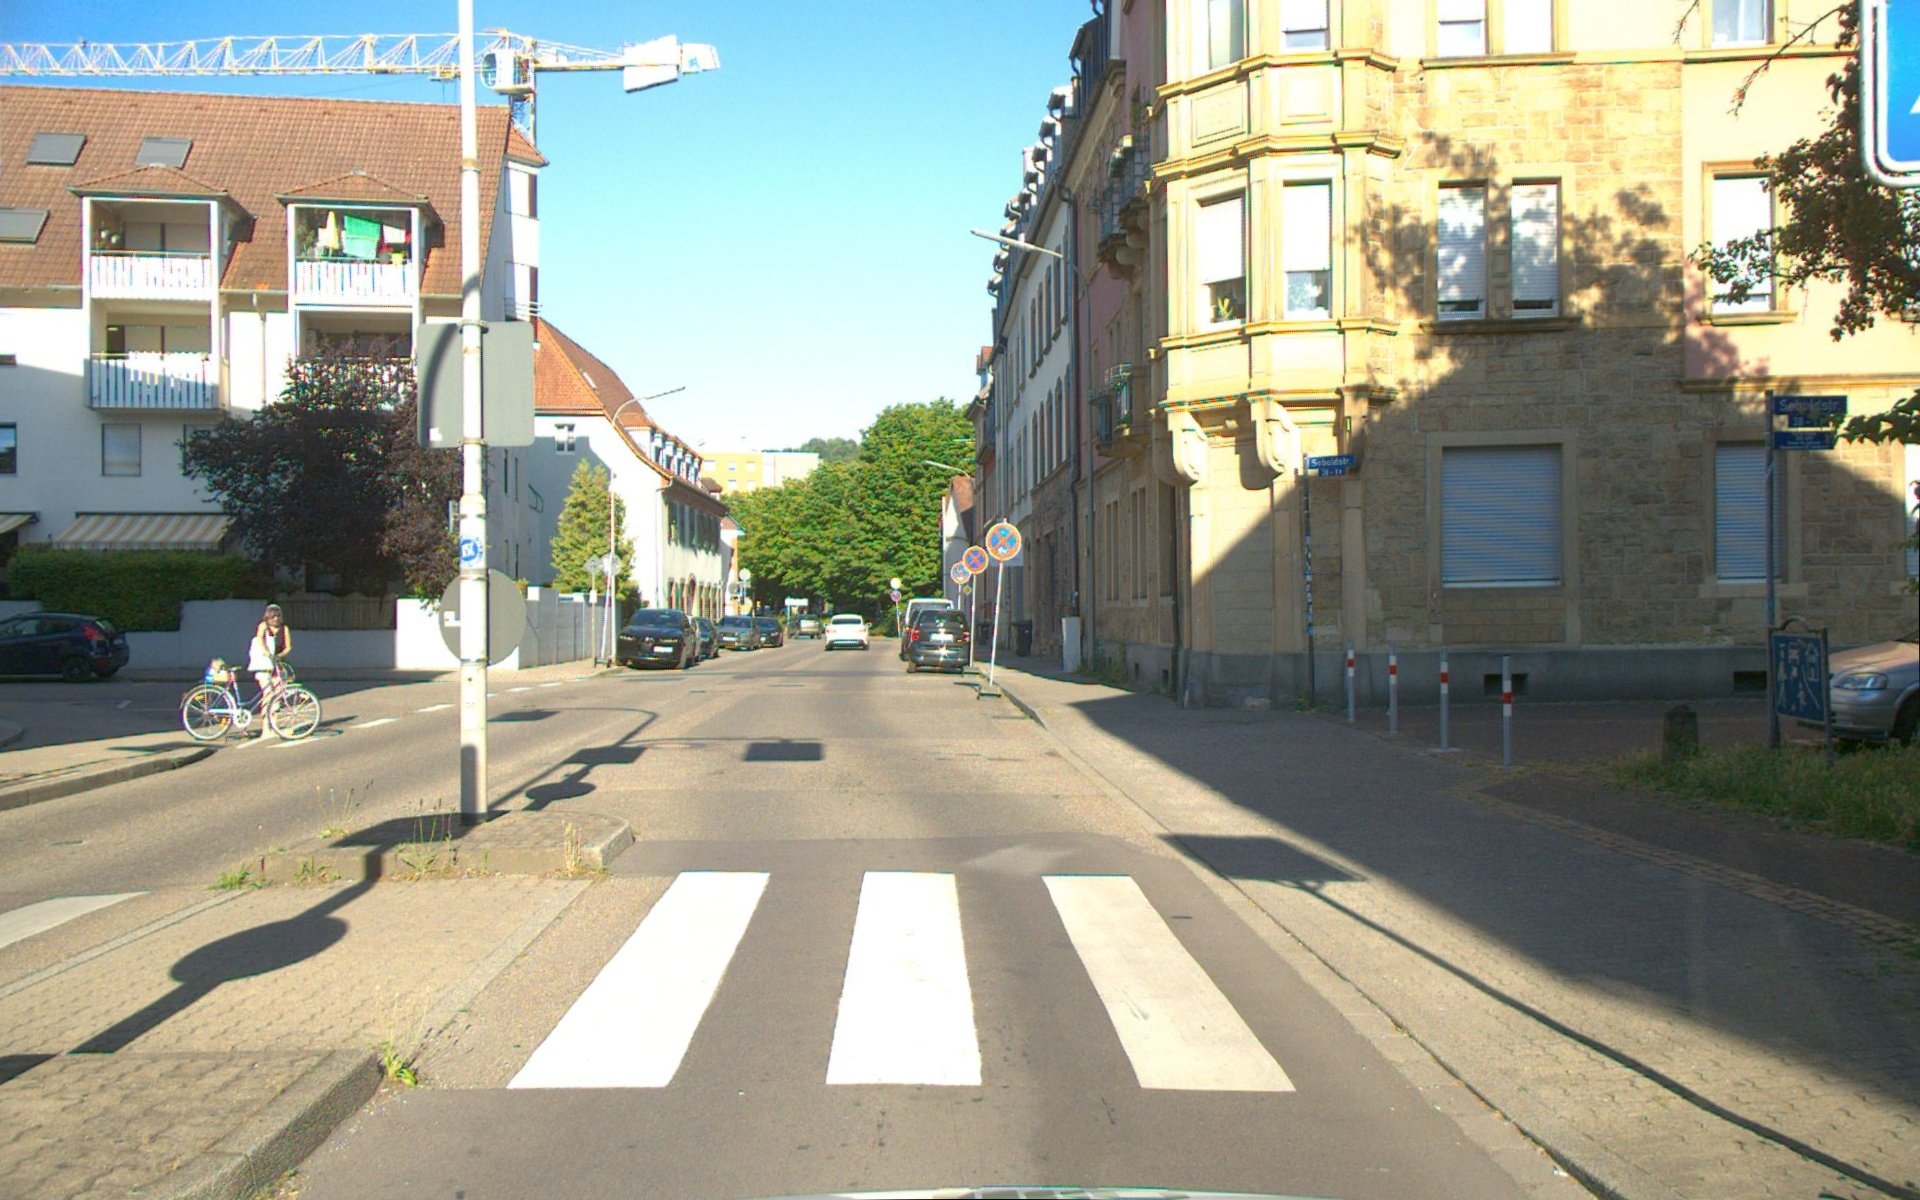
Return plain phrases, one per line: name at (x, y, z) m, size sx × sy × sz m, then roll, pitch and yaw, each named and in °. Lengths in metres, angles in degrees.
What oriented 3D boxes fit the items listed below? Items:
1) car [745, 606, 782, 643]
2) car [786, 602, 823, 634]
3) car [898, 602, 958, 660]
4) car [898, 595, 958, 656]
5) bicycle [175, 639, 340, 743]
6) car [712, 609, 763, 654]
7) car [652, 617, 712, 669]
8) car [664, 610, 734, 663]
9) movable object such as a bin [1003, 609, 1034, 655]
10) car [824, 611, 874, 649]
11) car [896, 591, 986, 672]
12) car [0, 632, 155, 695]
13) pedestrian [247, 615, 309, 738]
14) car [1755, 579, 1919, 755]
car at (-9.587, 1.176, 80.978) m, size 1.599 × 1.659 × 3.172 m, roll -2°, pitch 0°, yaw -4°
car at (-10.406, 1.183, 110.470) m, size 1.959 × 2.049 × 3.986 m, roll -1°, pitch 0°, yaw -13°
car at (-0.973, 0.943, 52.242) m, size 1.781 × 1.659 × 4.000 m, roll -2°, pitch 0°, yaw 0°
car at (-1.135, 0.843, 57.058) m, size 1.805 × 1.939 × 3.997 m, roll -2°, pitch 0°, yaw -4°
bicycle at (-8.591, 1.108, 20.264) m, size 1.750 × 1.205 × 0.598 m, roll -1°, pitch 0°, yaw -3°
car at (-9.666, 1.334, 72.016) m, size 1.873 × 1.790 × 4.125 m, roll -2°, pitch 0°, yaw -4°
car at (-8.681, 1.315, 51.882) m, size 1.523 × 1.483 × 3.058 m, roll -2°, pitch 0°, yaw -4°
car at (-9.064, 1.242, 57.693) m, size 2.051 × 1.659 × 3.819 m, roll -2°, pitch 0°, yaw -4°
movable object such as a bin at (1.825, 1.001, 51.791) m, size 0.854 × 1.402 × 0.684 m, roll -2°, pitch 1°, yaw -5°
car at (-4.543, 1.195, 67.244) m, size 1.955 × 1.492 × 3.995 m, roll -1°, pitch 0°, yaw -5°
car at (-0.523, 0.733, 40.889) m, size 1.971 × 1.885 × 3.997 m, roll 1°, pitch 0°, yaw -4°
car at (-19.533, 1.368, 35.722) m, size 3.473 × 1.202 × 1.614 m, roll -2°, pitch 0°, yaw -7°
pedestrian at (-8.512, 0.941, 20.651) m, size 0.546 × 1.498 × 0.600 m, roll -1°, pitch 0°, yaw -7°
car at (9.640, 0.508, 15.043) m, size 3.871 × 1.444 × 1.903 m, roll -3°, pitch 0°, yaw 5°
